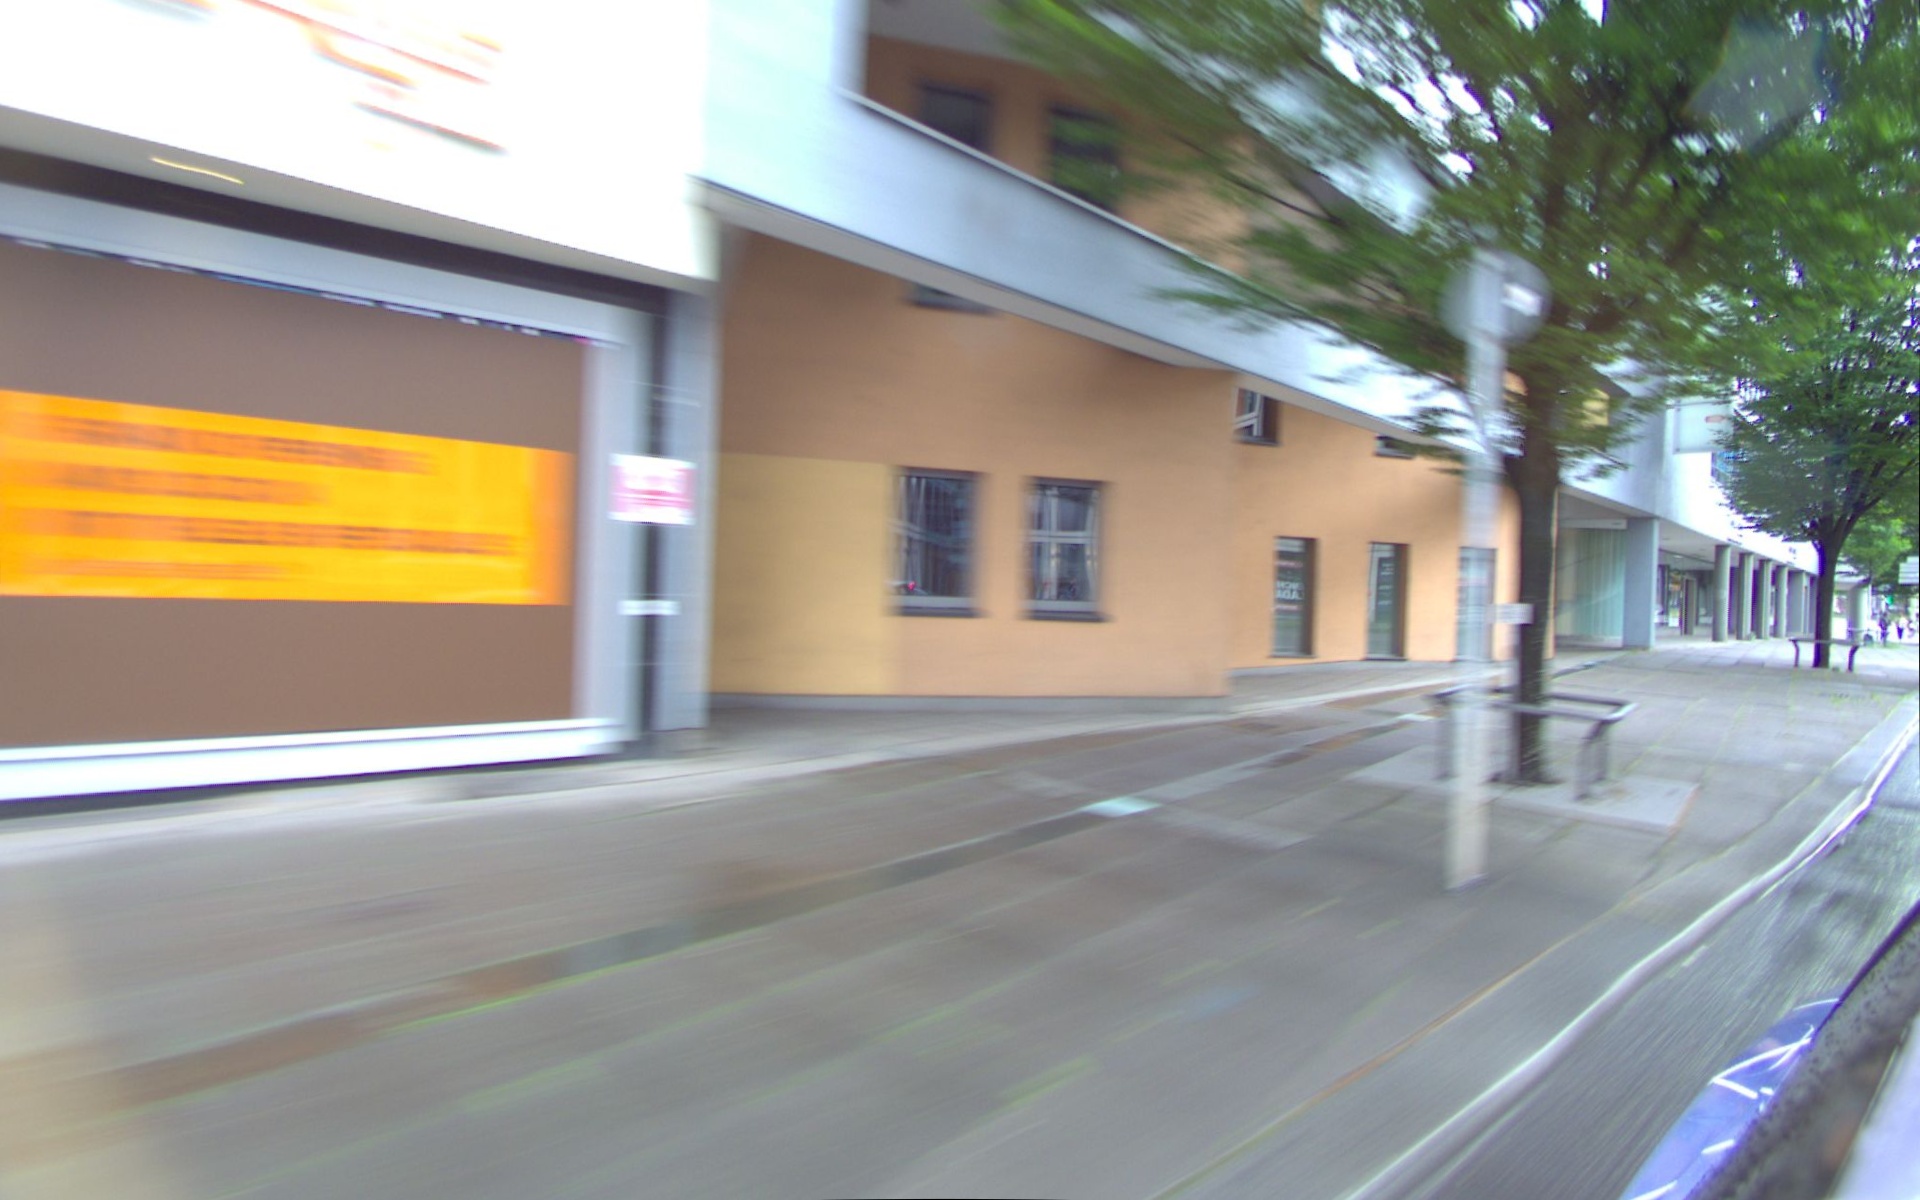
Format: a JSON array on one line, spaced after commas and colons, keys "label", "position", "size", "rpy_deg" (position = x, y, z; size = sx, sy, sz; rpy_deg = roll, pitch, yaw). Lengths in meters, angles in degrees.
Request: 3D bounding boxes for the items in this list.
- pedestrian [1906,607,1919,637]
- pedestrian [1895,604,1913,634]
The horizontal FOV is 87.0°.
[{"label": "pedestrian", "position": [58.702, 1.349, 62.296], "size": [0.865, 1.805, 0.640], "rpy_deg": [2, -2, -44]}, {"label": "pedestrian", "position": [57.372, 1.164, 61.529], "size": [0.791, 1.805, 0.880], "rpy_deg": [0, -2, 44]}]
